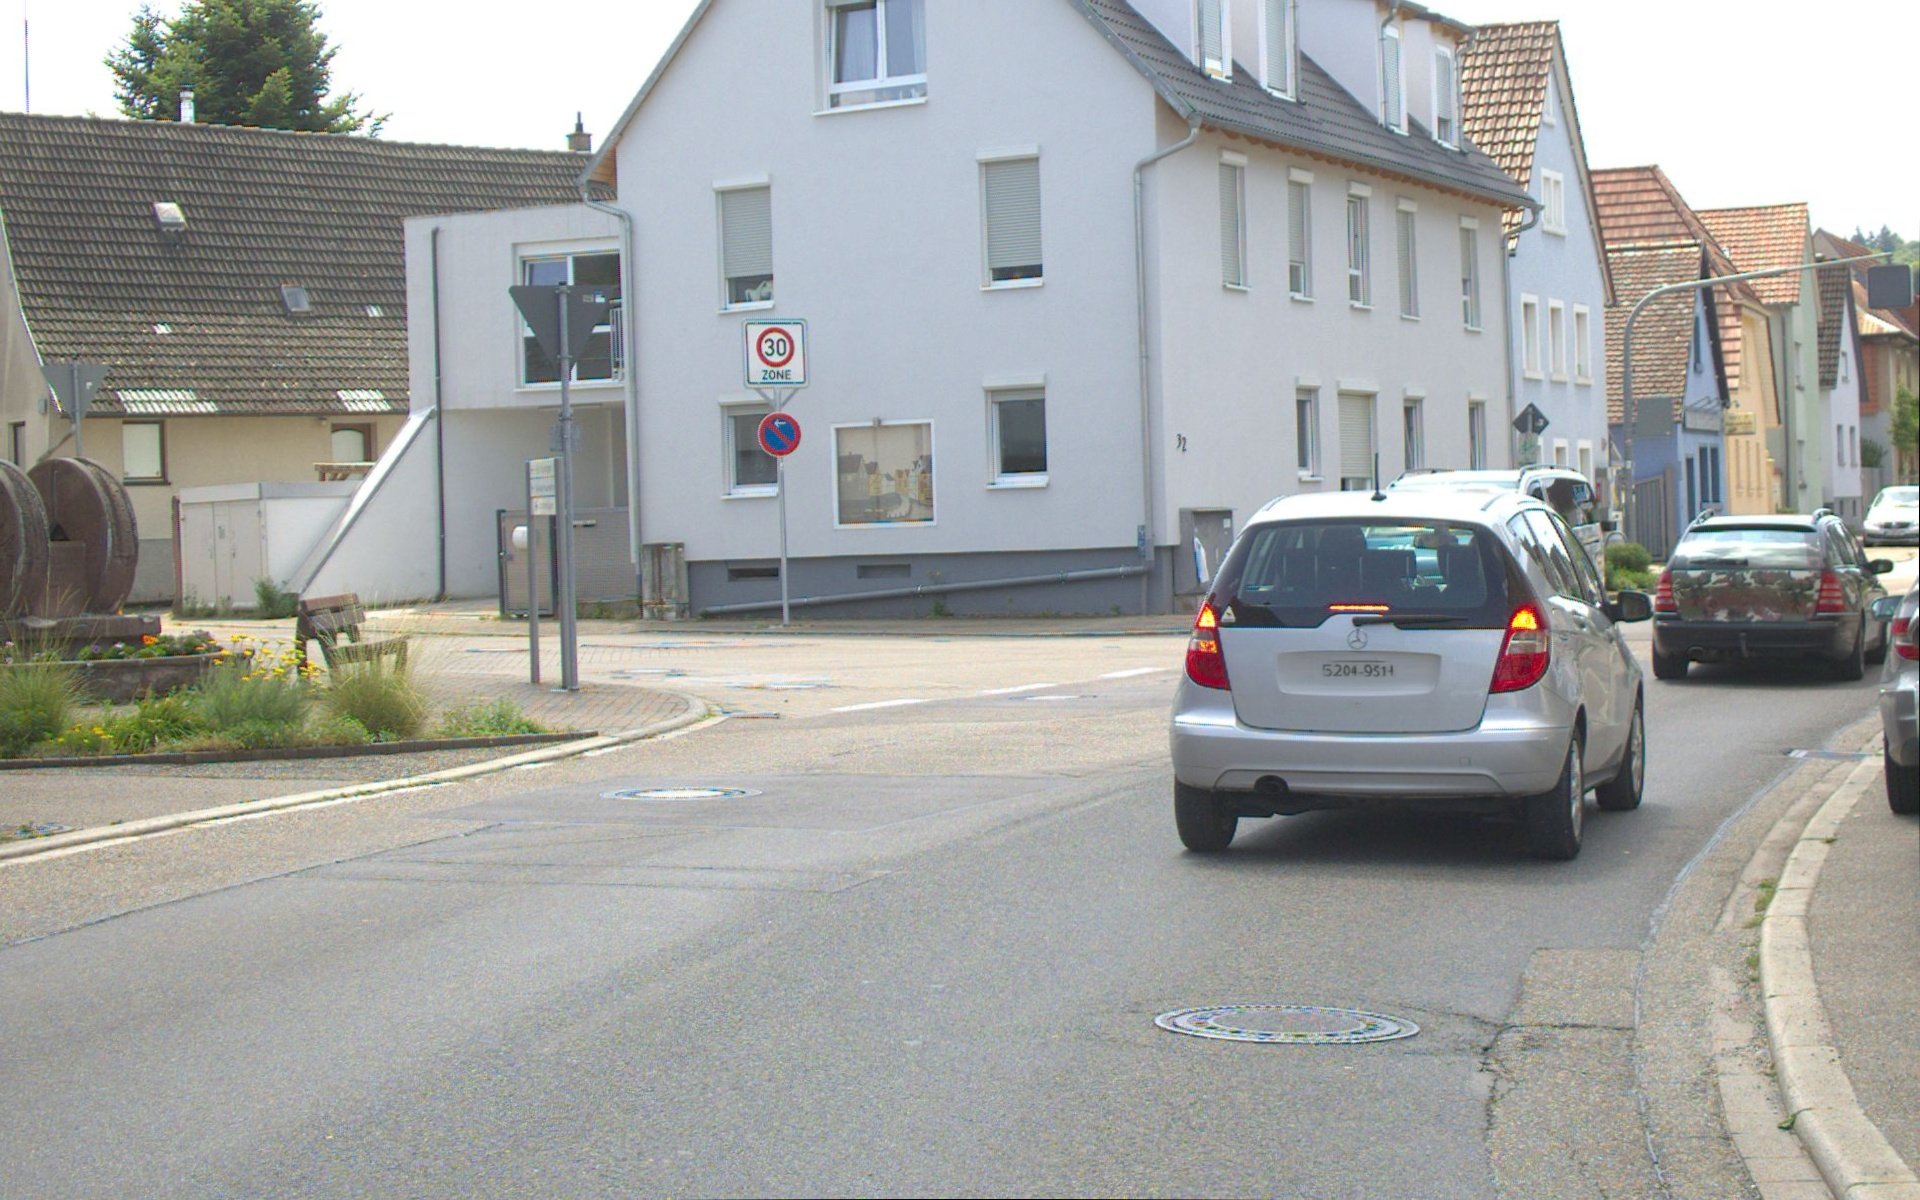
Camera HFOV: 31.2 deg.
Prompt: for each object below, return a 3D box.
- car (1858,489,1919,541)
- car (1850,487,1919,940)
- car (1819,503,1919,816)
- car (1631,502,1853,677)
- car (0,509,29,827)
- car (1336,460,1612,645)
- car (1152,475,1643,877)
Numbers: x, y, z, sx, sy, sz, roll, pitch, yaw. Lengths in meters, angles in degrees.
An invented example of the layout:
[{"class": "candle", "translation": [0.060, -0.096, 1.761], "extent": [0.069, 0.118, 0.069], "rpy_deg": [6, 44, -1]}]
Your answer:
[{"class": "car", "translation": [25.376, -2.278, 92.995], "extent": [1.995, 1.317, 3.706], "rpy_deg": [0, 0, 16]}, {"class": "car", "translation": [4.303, 0.316, 12.292], "extent": [1.886, 1.525, 4.333], "rpy_deg": [-4, 0, 12]}, {"class": "car", "translation": [5.416, 0.223, 17.519], "extent": [1.771, 1.395, 4.422], "rpy_deg": [-4, -1, 12]}, {"class": "car", "translation": [6.814, -0.084, 29.917], "extent": [1.751, 1.411, 3.997], "rpy_deg": [0, 0, 13]}, {"class": "car", "translation": [-6.387, 0.326, 15.422], "extent": [3.967, 1.459, 1.721], "rpy_deg": [0, 1, -2]}, {"class": "car", "translation": [5.457, -0.459, 35.953], "extent": [1.995, 1.793, 4.931], "rpy_deg": [0, 0, 19]}, {"class": "car", "translation": [2.161, 0.260, 16.106], "extent": [1.812, 1.638, 3.727], "rpy_deg": [1, 2, 15]}]
